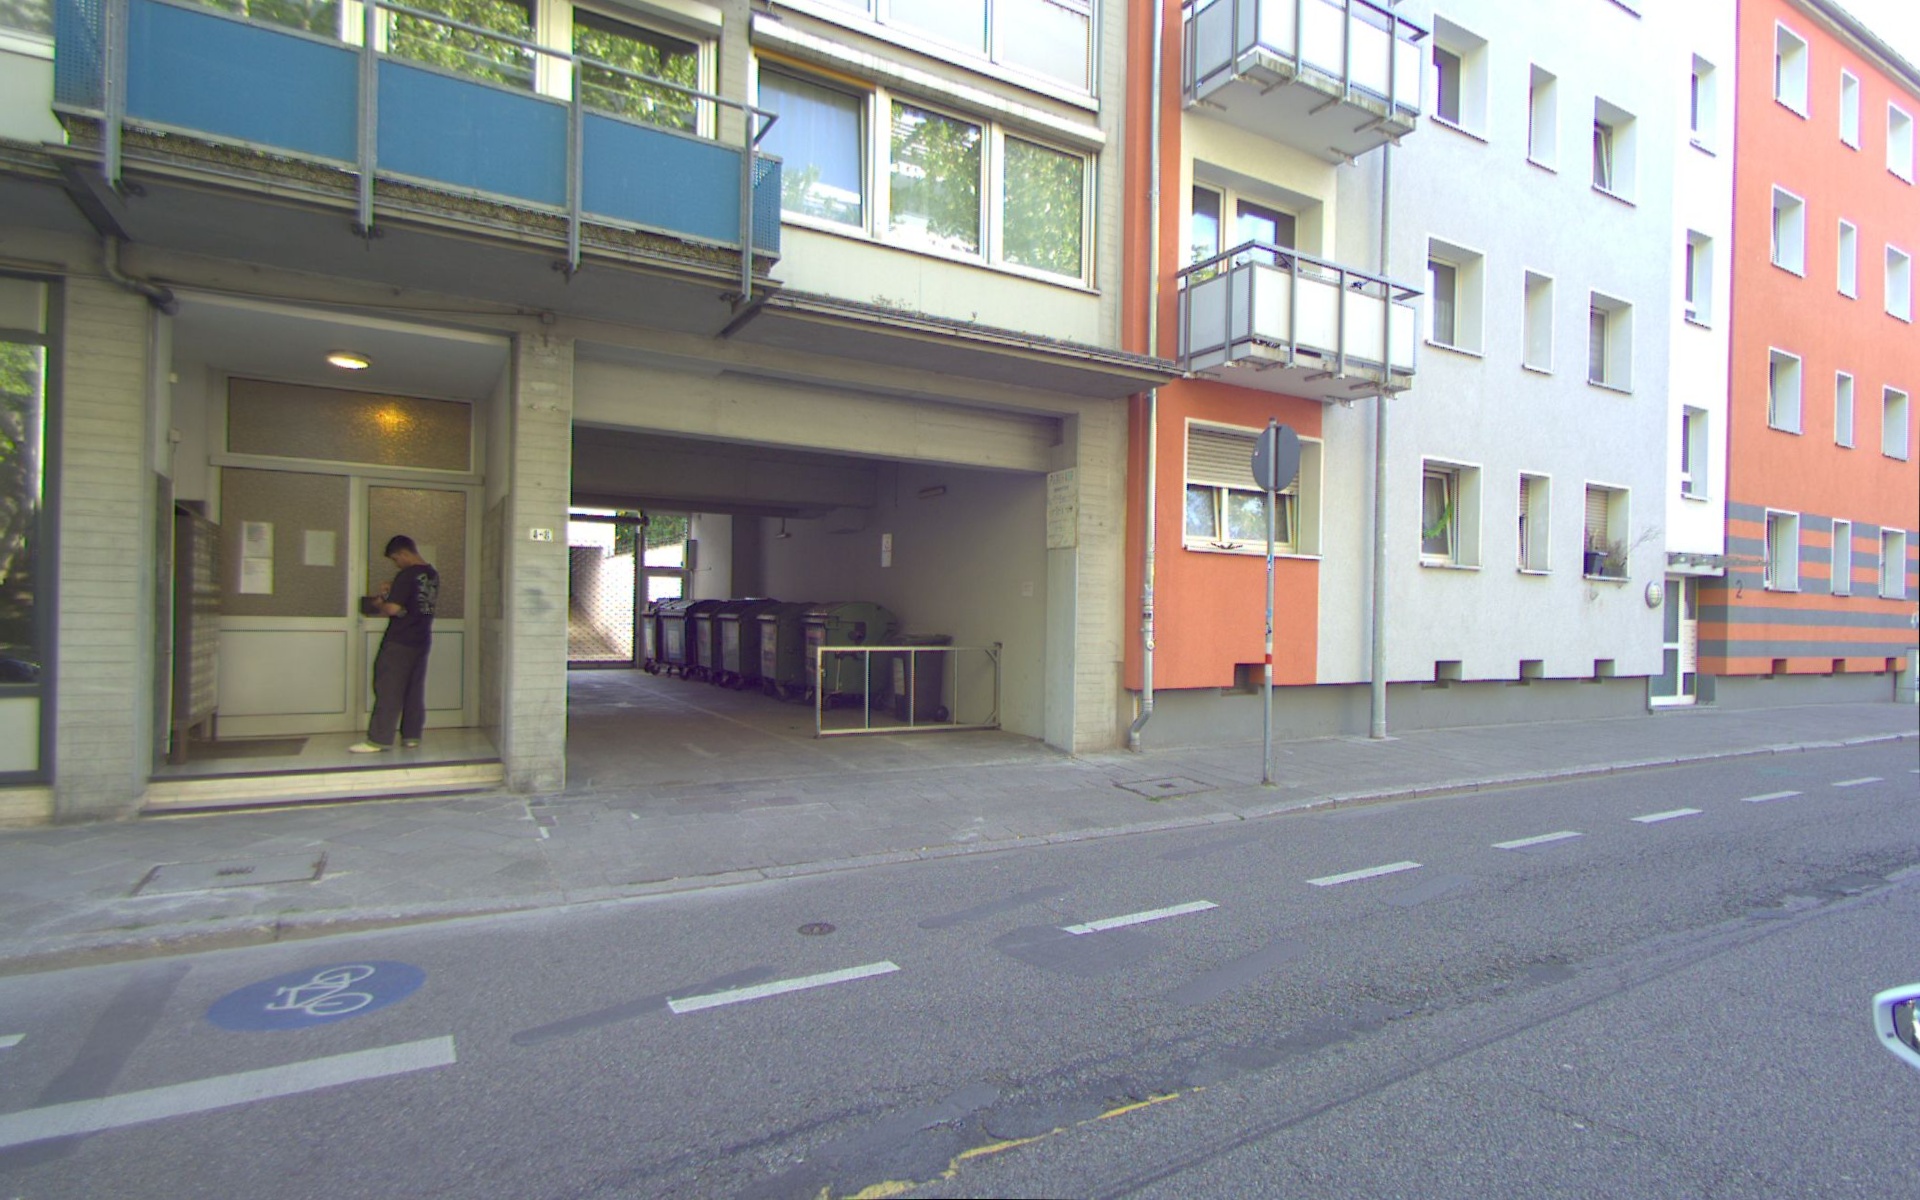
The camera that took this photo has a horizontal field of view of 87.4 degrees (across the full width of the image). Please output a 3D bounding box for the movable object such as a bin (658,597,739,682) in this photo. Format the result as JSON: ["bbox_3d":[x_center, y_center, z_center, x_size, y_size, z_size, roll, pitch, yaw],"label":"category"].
[{"bbox_3d":[-4.880,0.713,18.695,1.167,1.503,1.215,1,0,-30],"label":"movable object such as a bin"}]

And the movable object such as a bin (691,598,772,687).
[{"bbox_3d":[-4.021,0.725,17.648,1.080,1.503,1.159,1,0,-30],"label":"movable object such as a bin"}]

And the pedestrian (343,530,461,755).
[{"bbox_3d":[-4.501,0.331,8.133,0.537,1.736,0.662,1,0,3],"label":"pedestrian"}]

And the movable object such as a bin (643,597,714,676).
[{"bbox_3d":[-5.583,0.711,19.889,1.167,1.503,0.819,1,0,-30],"label":"movable object such as a bin"}]

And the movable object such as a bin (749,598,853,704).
[{"bbox_3d":[-2.410,0.734,15.164,1.167,1.503,1.252,1,0,-30],"label":"movable object such as a bin"}]

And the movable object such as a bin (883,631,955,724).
[{"bbox_3d":[-0.512,0.944,12.453,0.687,1.094,0.579,1,0,-30],"label":"movable object such as a bin"}]

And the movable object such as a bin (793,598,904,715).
[{"bbox_3d":[-1.544,0.743,13.778,1.086,1.503,1.251,1,0,-30],"label":"movable object such as a bin"}]

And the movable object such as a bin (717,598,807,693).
[{"bbox_3d":[-3.293,0.727,16.647,1.167,1.503,1.073,1,0,-30],"label":"movable object such as a bin"}]
